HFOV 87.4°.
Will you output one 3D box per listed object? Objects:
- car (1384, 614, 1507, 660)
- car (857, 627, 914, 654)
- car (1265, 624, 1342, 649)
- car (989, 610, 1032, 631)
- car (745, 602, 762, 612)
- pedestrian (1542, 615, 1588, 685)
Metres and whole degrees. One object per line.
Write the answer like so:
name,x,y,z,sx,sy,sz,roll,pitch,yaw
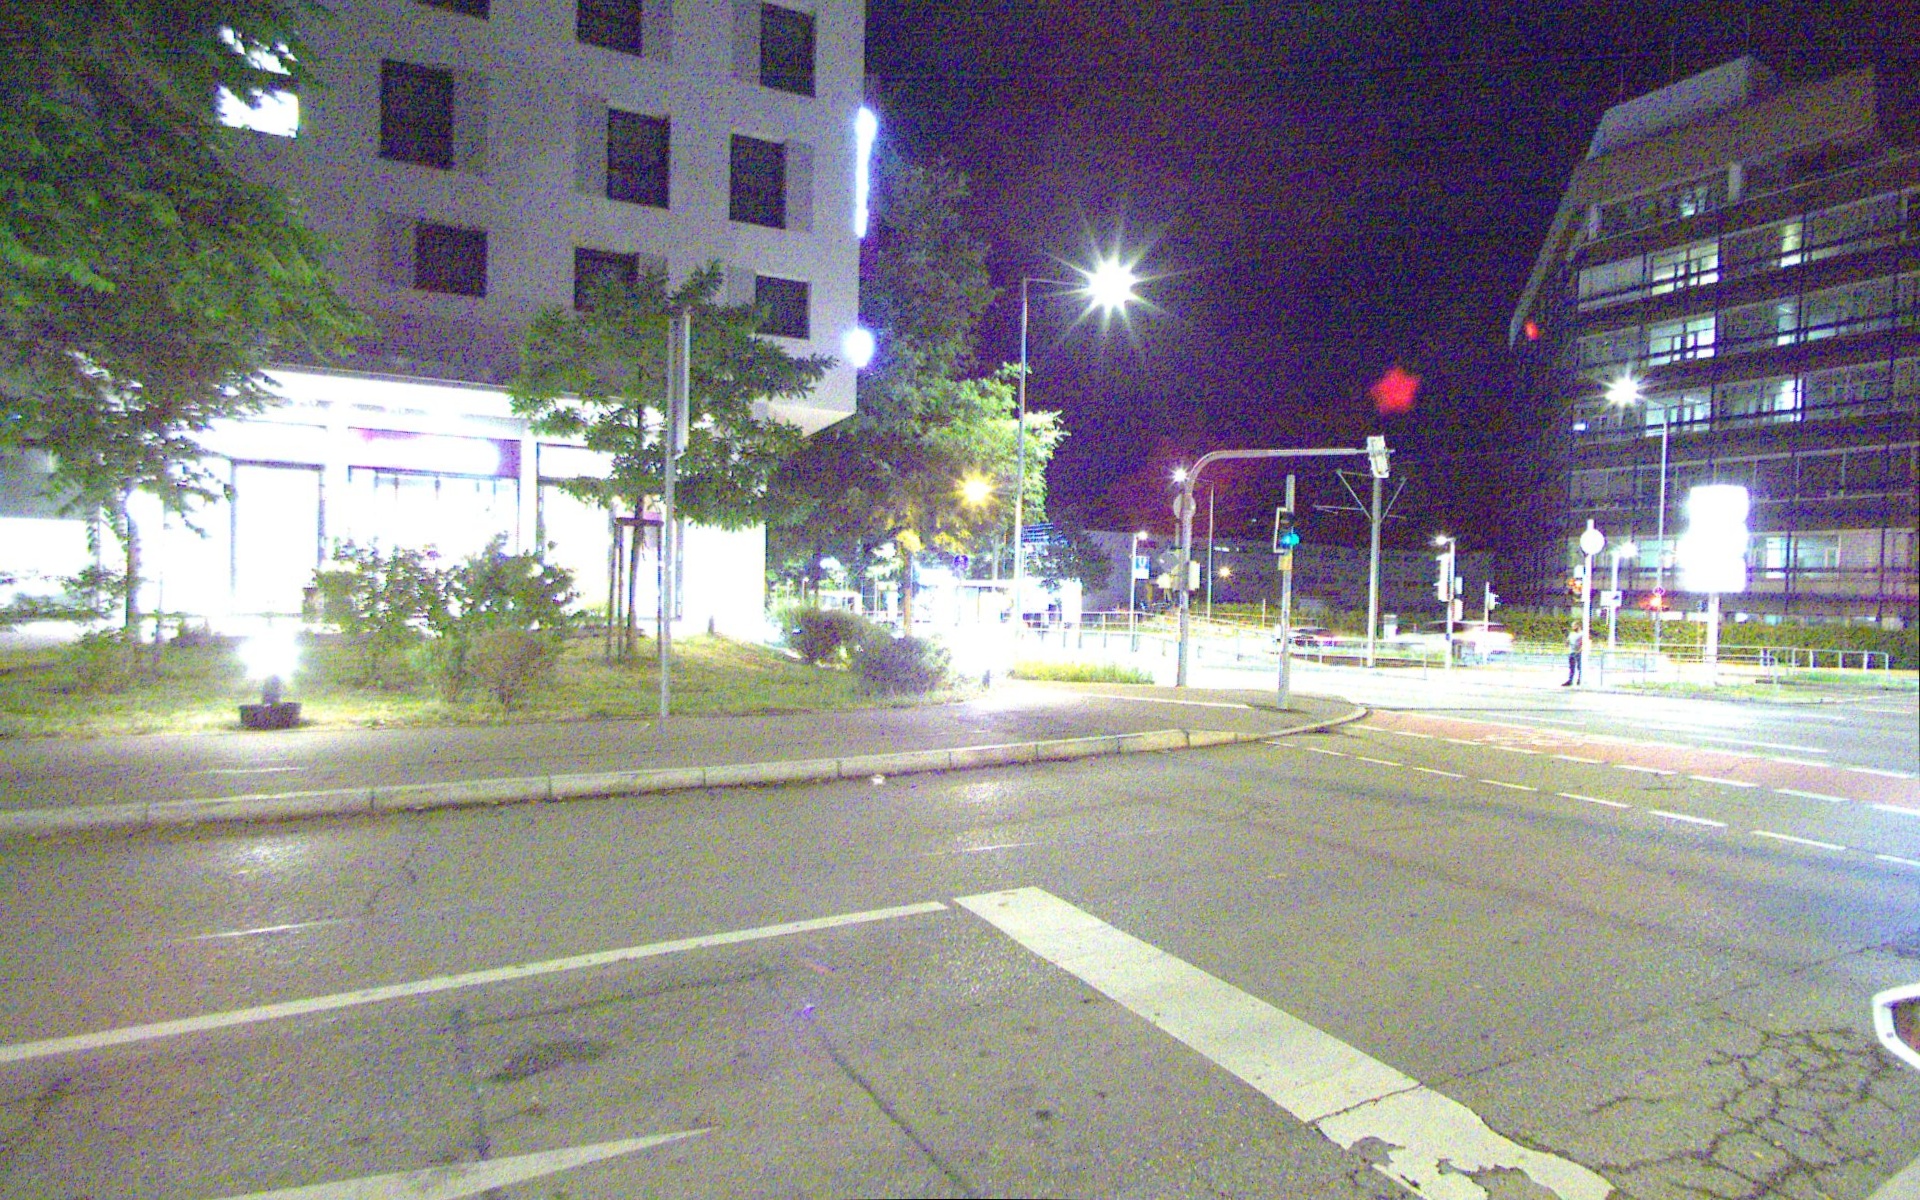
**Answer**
car,21.188,1.579,44.055,1.819,1.868,4.764,1,-1,-26
car,-4.354,2.306,58.345,1.722,1.439,4.557,-2,-1,-26
car,20.501,2.163,60.086,1.819,1.406,4.313,3,-2,-26
car,4.546,1.853,90.591,1.916,1.665,4.382,3,0,-26
car,-33.469,1.124,162.933,1.845,1.506,3.822,3,0,-26
pedestrian,15.580,1.273,25.859,0.693,1.745,0.679,2,0,-3
